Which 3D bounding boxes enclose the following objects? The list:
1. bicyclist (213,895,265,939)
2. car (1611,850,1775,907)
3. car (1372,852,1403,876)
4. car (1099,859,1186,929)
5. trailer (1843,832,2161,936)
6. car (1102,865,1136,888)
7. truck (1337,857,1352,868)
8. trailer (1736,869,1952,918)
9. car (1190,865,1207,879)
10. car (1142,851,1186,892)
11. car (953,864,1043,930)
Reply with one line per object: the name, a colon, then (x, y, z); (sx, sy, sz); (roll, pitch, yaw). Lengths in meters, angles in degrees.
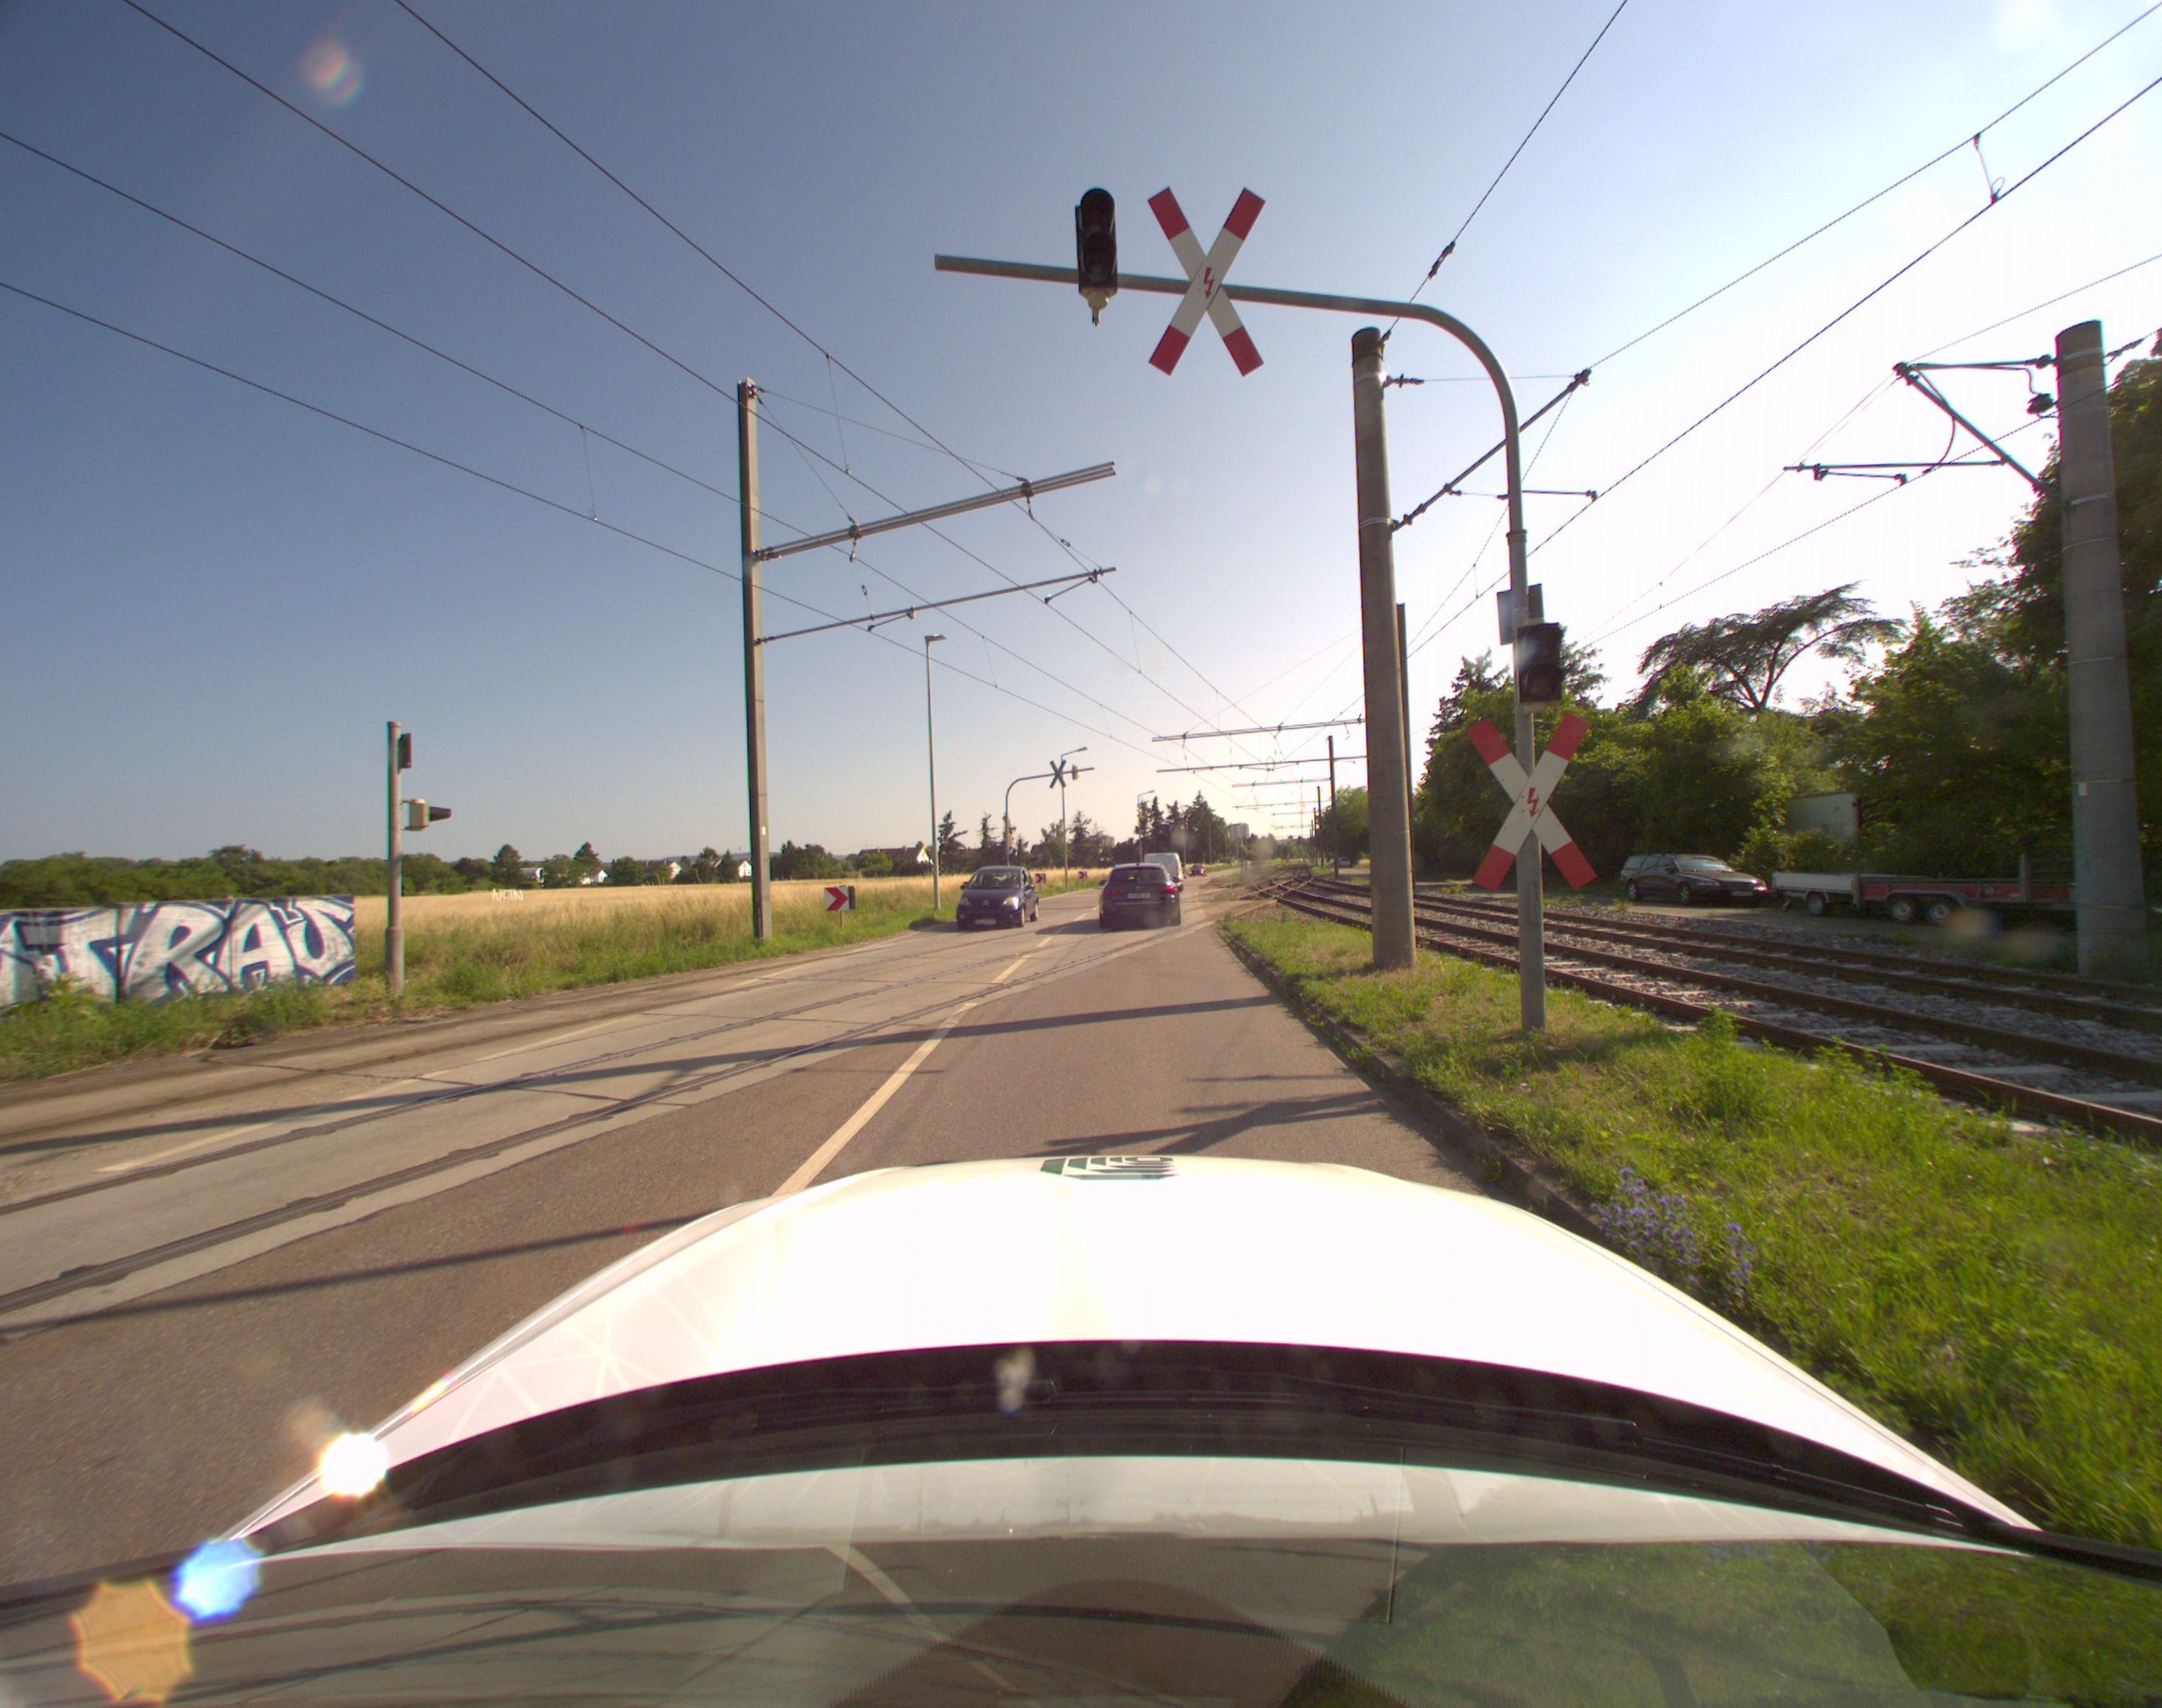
bicyclist: (-24.186, 1.807, 23.400); (0.739, 1.205, 0.793); (-2, -1, 21)
car: (17.441, 0.630, 23.561); (1.689, 1.456, 4.892); (1, 0, 9)
car: (26.899, 0.830, 71.558); (1.979, 2.004, 5.086); (1, 0, 14)
car: (1.519, 0.879, 20.050); (1.860, 1.452, 4.749); (-1, 0, 4)
trailer: (16.581, 0.484, 14.651); (2.016, 1.596, 4.266); (0, -1, 5)
car: (2.531, 1.463, 53.883); (1.682, 1.439, 4.295); (-1, -1, 10)
truck: (46.815, 1.446, 144.712); (2.188, 1.819, 5.952); (-2, -1, 15)
trailer: (17.222, 0.844, 18.655); (1.722, 0.939, 3.734); (1, 0, 6)
car: (14.322, 2.144, 99.208); (1.700, 1.549, 3.943); (-2, -1, 14)
car: (4.431, 0.894, 42.651); (1.846, 1.988, 5.123); (-1, -1, 10)
car: (-2.065, 1.056, 21.269); (1.616, 1.494, 4.004); (-3, -1, 4)
